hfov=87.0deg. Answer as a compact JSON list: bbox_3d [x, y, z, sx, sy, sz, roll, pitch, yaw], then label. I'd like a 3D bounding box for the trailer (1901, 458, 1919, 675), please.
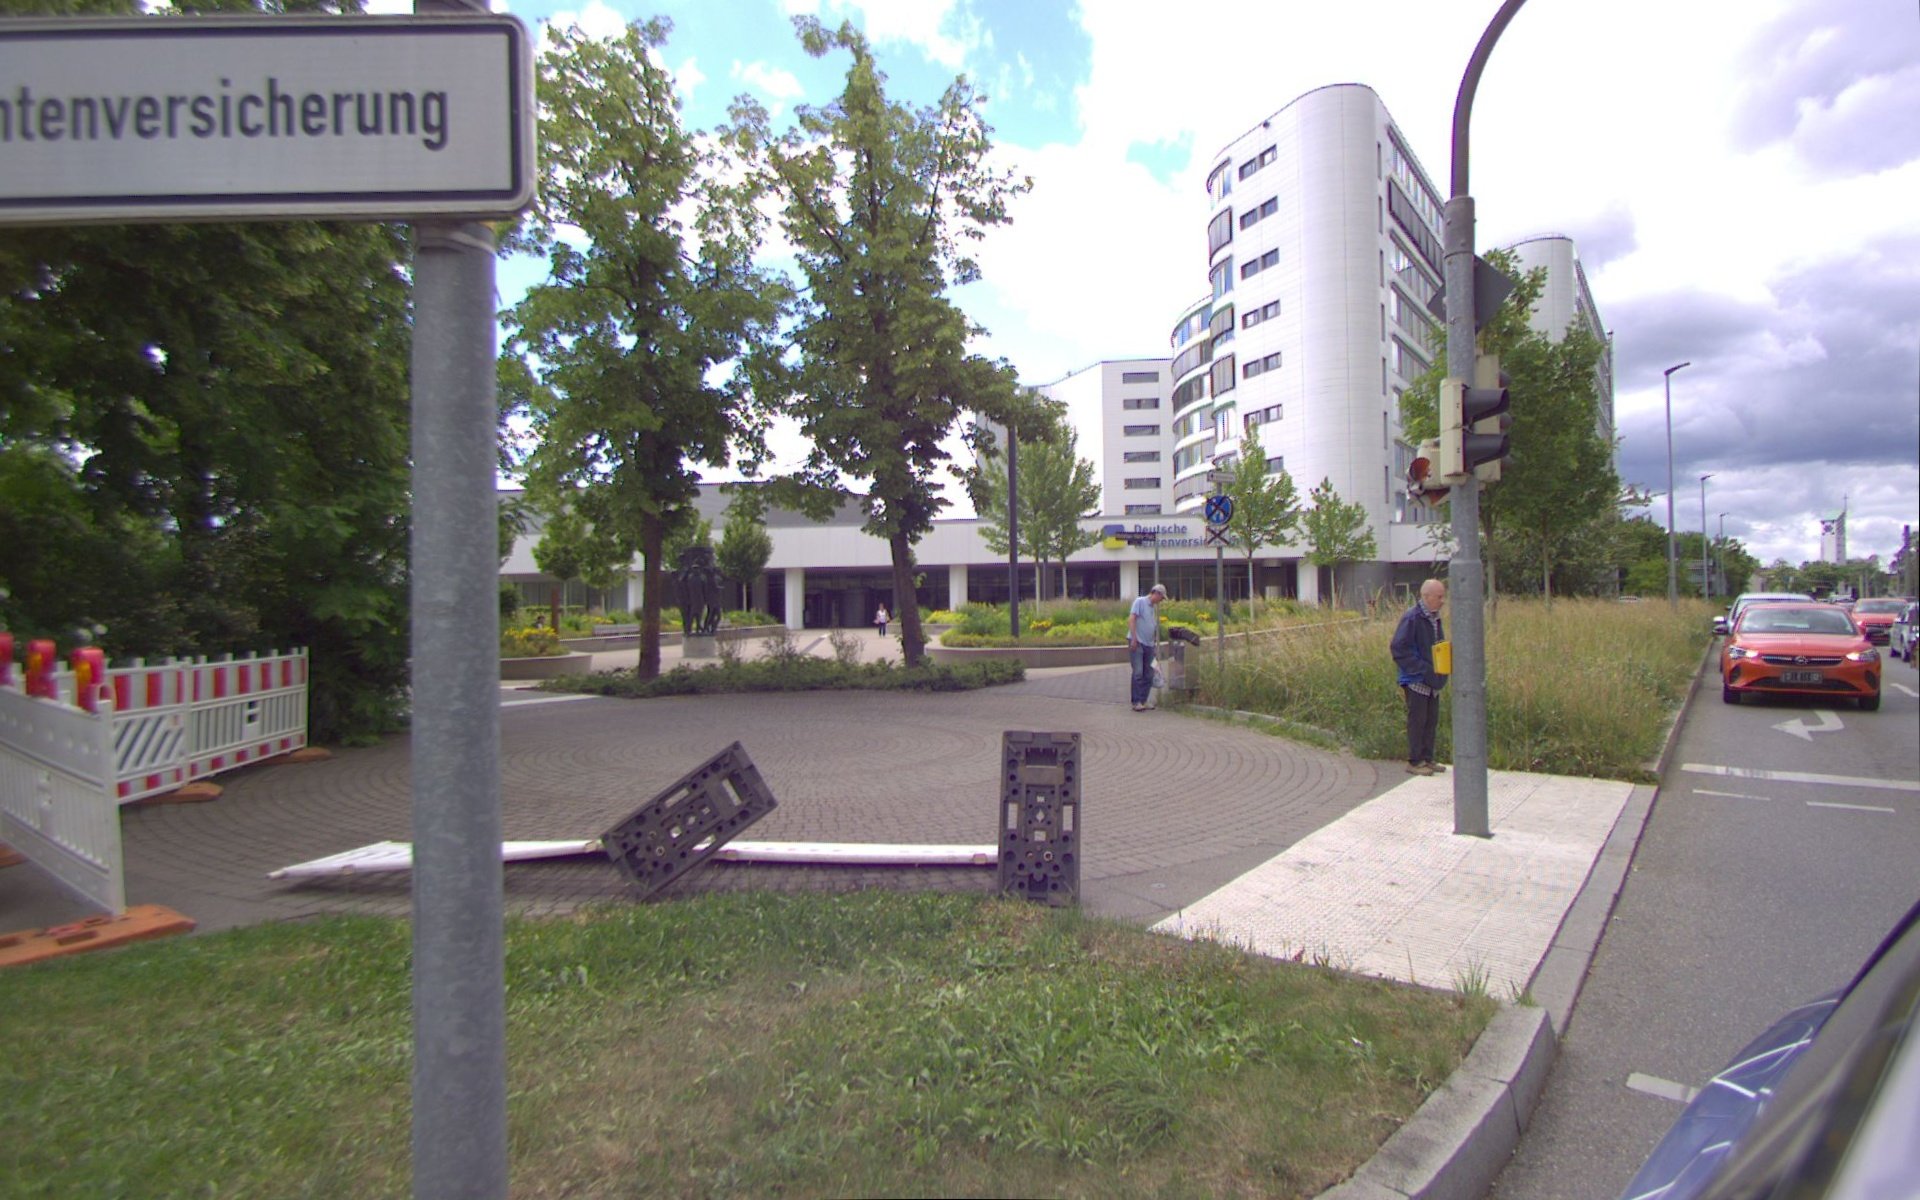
[{"bbox_3d":[14.814,-0.521,13.105,2.700,3.566,10.768,-1,0,37],"label":"trailer"}]

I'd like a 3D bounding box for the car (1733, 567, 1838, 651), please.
[{"bbox_3d":[21.742,0.222,26.750,1.990,2.039,3.944,-1,0,39],"label":"car"}]

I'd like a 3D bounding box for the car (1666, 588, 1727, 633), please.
[{"bbox_3d":[27.622,0.375,37.928,1.729,1.594,3.399,-1,0,38],"label":"car"}]

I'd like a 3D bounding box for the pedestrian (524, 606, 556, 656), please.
[{"bbox_3d":[-11.048,0.811,26.632,0.579,1.278,0.562,-1,0,37],"label":"pedestrian"}]

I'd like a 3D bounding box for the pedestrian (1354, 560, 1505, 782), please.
[{"bbox_3d":[3.951,0.562,8.585,0.713,1.762,0.957,0,-1,-11],"label":"pedestrian"}]

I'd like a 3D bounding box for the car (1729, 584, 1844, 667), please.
[{"bbox_3d":[17.320,0.477,21.330,1.729,1.594,3.399,-1,0,38],"label":"car"}]

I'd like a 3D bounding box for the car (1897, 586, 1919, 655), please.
[{"bbox_3d":[23.341,0.434,23.721,1.685,1.498,3.945,-1,0,39],"label":"car"}]

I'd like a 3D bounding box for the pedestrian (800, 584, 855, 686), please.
[{"bbox_3d":[-2.276,0.589,17.443,0.648,1.716,0.688,0,0,36],"label":"pedestrian"}]

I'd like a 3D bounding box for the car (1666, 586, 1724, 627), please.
[{"bbox_3d":[30.563,0.246,42.026,1.841,1.594,4.560,-1,0,38],"label":"car"}]

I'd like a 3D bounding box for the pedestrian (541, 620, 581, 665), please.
[{"bbox_3d":[-8.854,0.924,22.462,0.735,0.960,0.714,0,0,-13],"label":"pedestrian"}]

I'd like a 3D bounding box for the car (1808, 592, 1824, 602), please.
[{"bbox_3d":[134.808,-0.503,159.328,1.762,1.517,3.504,-1,0,39],"label":"car"}]

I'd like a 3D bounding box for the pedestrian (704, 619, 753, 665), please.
[{"bbox_3d":[-4.577,0.822,20.034,0.648,0.875,0.688,0,0,36],"label":"pedestrian"}]

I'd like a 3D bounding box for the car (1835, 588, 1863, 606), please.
[{"bbox_3d":[92.587,-0.282,105.418,1.879,1.794,4.795,-1,0,39],"label":"car"}]

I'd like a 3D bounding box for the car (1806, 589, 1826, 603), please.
[{"bbox_3d":[119.834,-0.567,141.773,1.990,2.039,3.944,-1,0,39],"label":"car"}]

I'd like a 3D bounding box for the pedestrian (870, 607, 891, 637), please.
[{"bbox_3d":[-3.539,0.965,44.998,0.868,1.290,0.705,0,-1,-8],"label":"pedestrian"}]

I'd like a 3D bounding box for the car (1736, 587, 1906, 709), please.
[{"bbox_3d":[12.538,0.598,14.900,1.685,1.498,3.945,-1,0,39],"label":"car"}]

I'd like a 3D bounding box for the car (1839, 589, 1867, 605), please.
[{"bbox_3d":[83.337,-0.313,94.477,1.697,1.476,3.516,-1,0,39],"label":"car"}]

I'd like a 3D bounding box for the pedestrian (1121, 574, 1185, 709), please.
[{"bbox_3d":[2.689,0.555,14.070,0.687,1.813,0.721,0,-1,29],"label":"pedestrian"}]

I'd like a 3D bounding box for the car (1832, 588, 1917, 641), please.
[{"bbox_3d":[28.410,0.418,31.544,1.685,1.498,3.945,-1,0,39],"label":"car"}]
